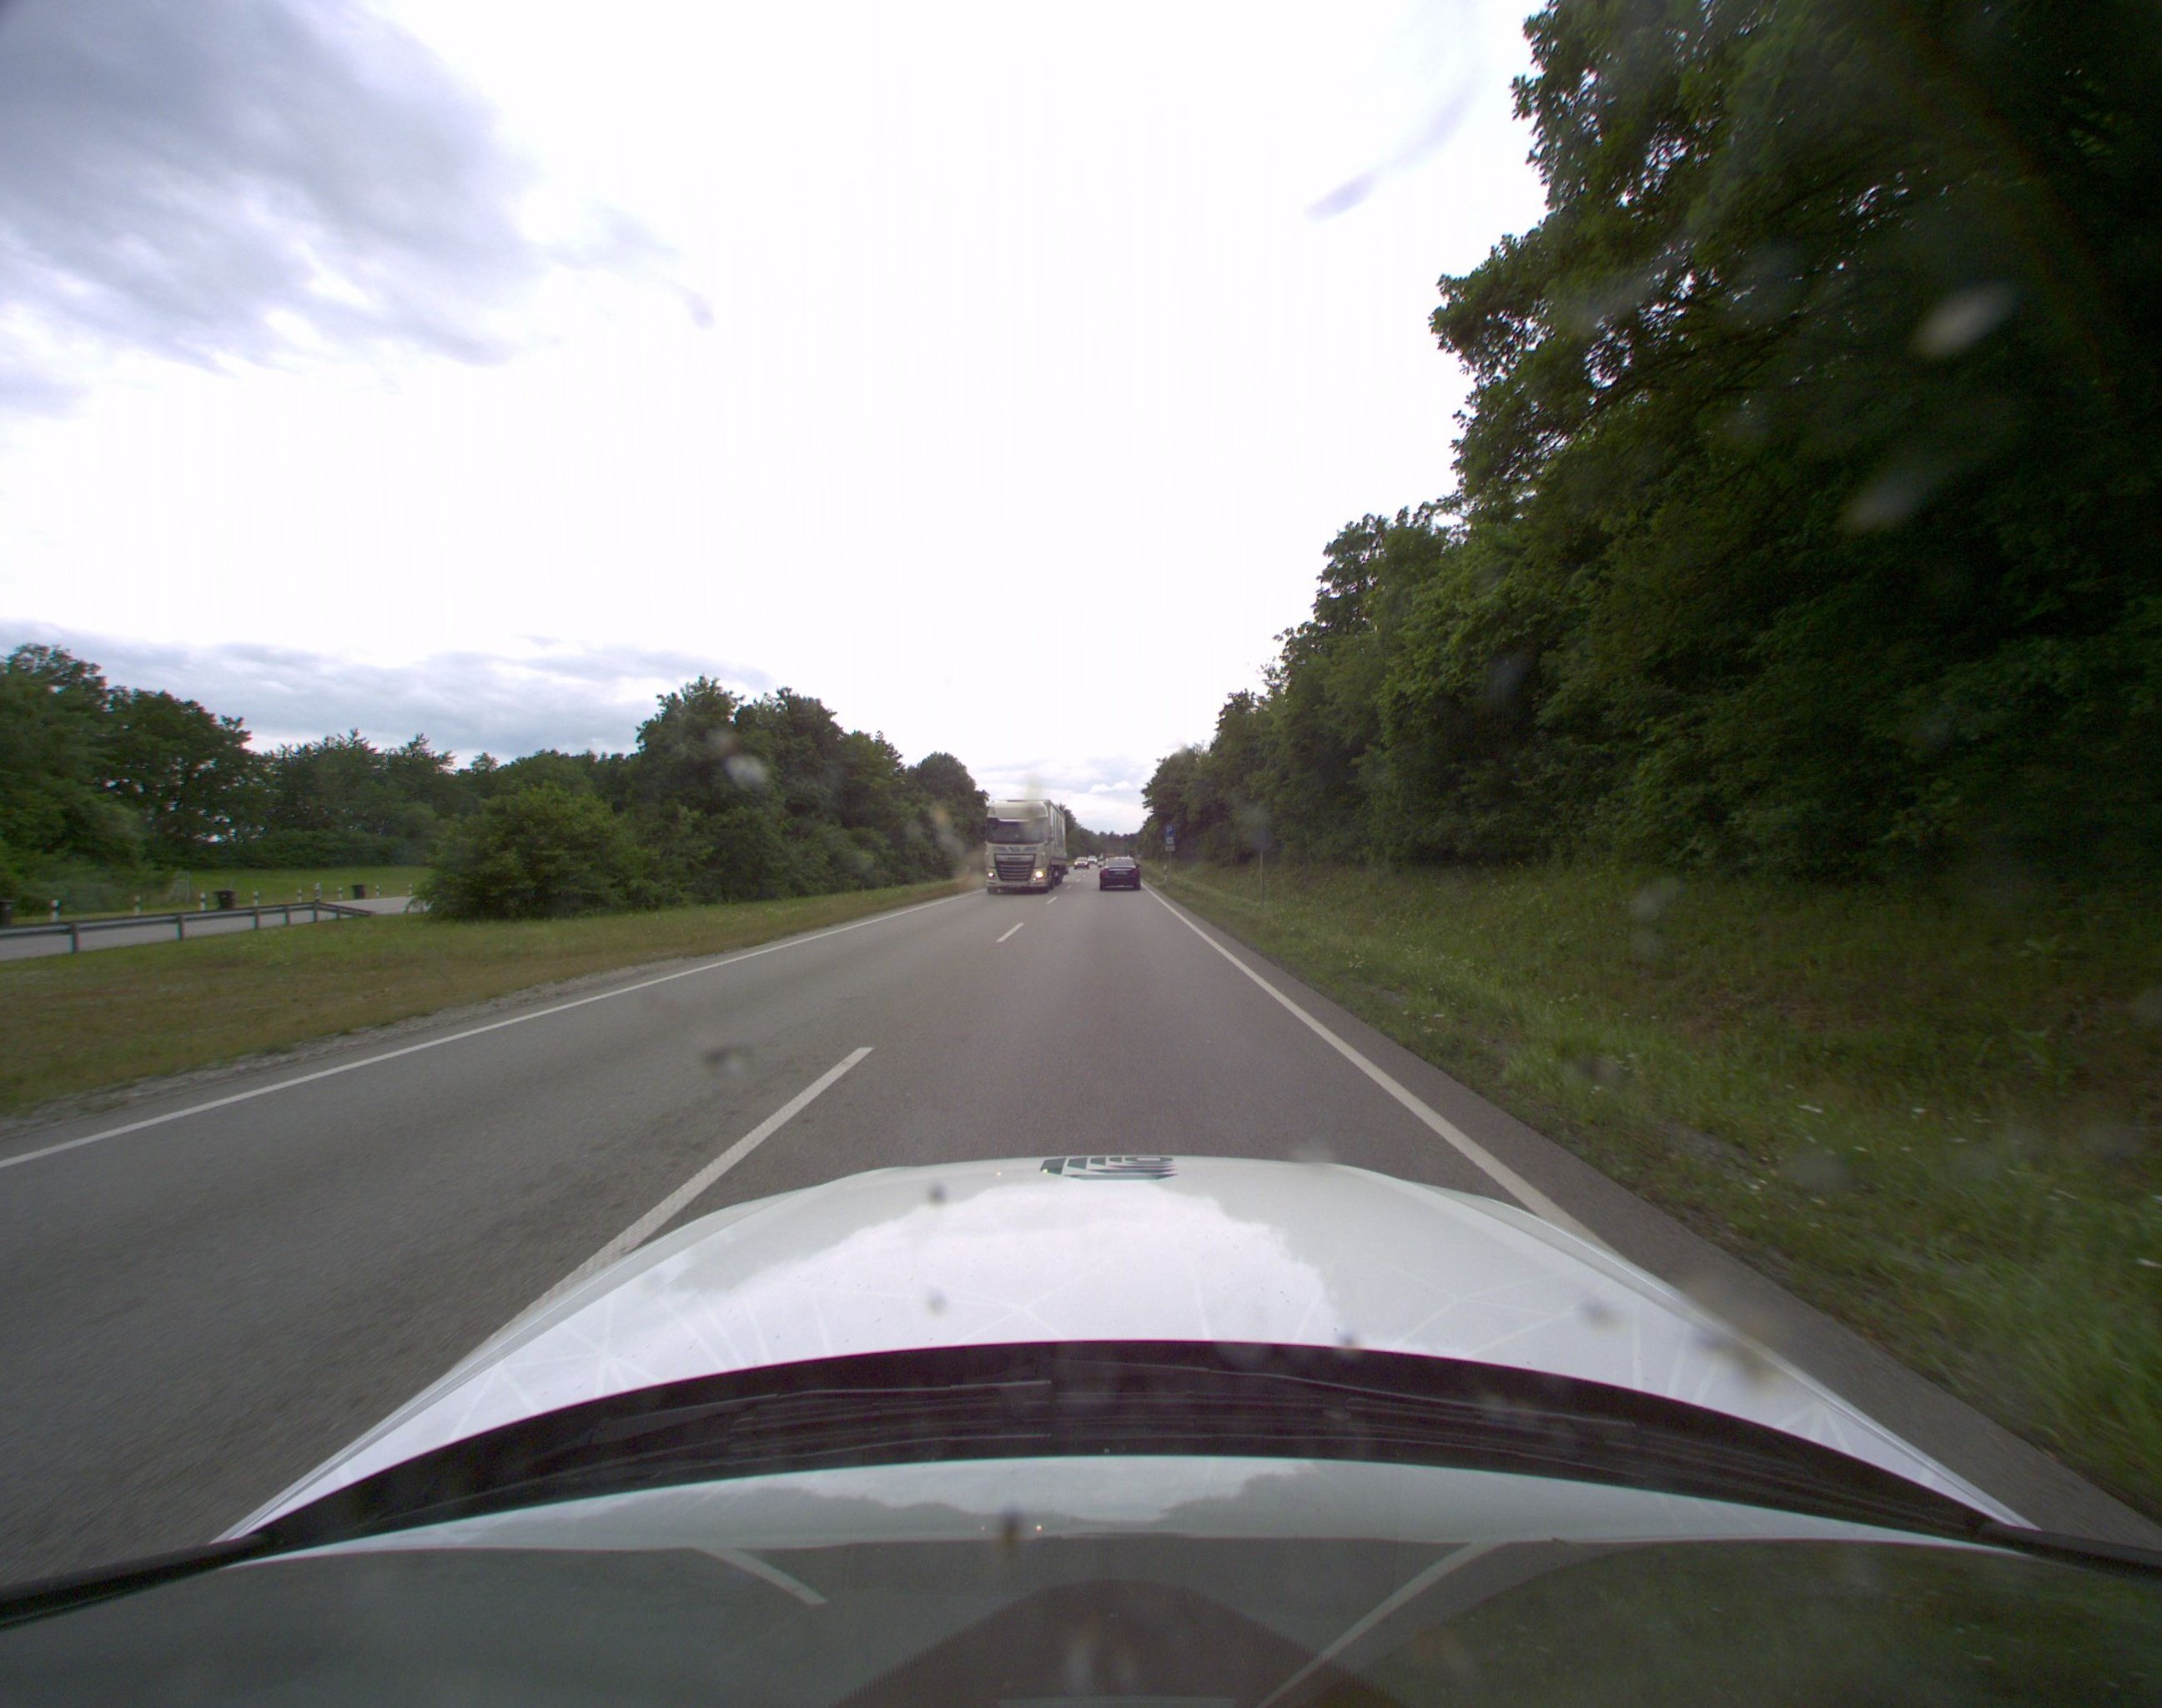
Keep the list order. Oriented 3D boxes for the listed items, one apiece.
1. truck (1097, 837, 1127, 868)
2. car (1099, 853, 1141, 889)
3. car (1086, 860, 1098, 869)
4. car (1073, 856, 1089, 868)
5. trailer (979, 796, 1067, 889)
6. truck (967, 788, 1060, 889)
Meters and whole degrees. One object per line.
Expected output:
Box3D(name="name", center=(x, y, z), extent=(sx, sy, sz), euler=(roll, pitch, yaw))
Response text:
Box3D(name="truck", center=(4.033, -0.122, 102.921), extent=(3.266, 3.611, 11.414), euler=(0, 0, 5))
Box3D(name="car", center=(1.753, 0.756, 37.304), extent=(1.785, 1.552, 4.000), euler=(0, 0, 1))
Box3D(name="car", center=(2.050, 1.860, 145.823), extent=(1.956, 1.574, 5.455), euler=(0, 0, 2))
Box3D(name="car", center=(0.022, 0.972, 100.599), extent=(1.719, 1.434, 4.505), euler=(0, 0, 2))
Box3D(name="trailer", center=(-2.676, -0.442, 42.952), extent=(3.191, 4.067, 14.277), euler=(0, 0, 2))
Box3D(name="truck", center=(-2.845, -0.605, 37.671), extent=(3.177, 4.062, 9.579), euler=(0, 0, 2))
